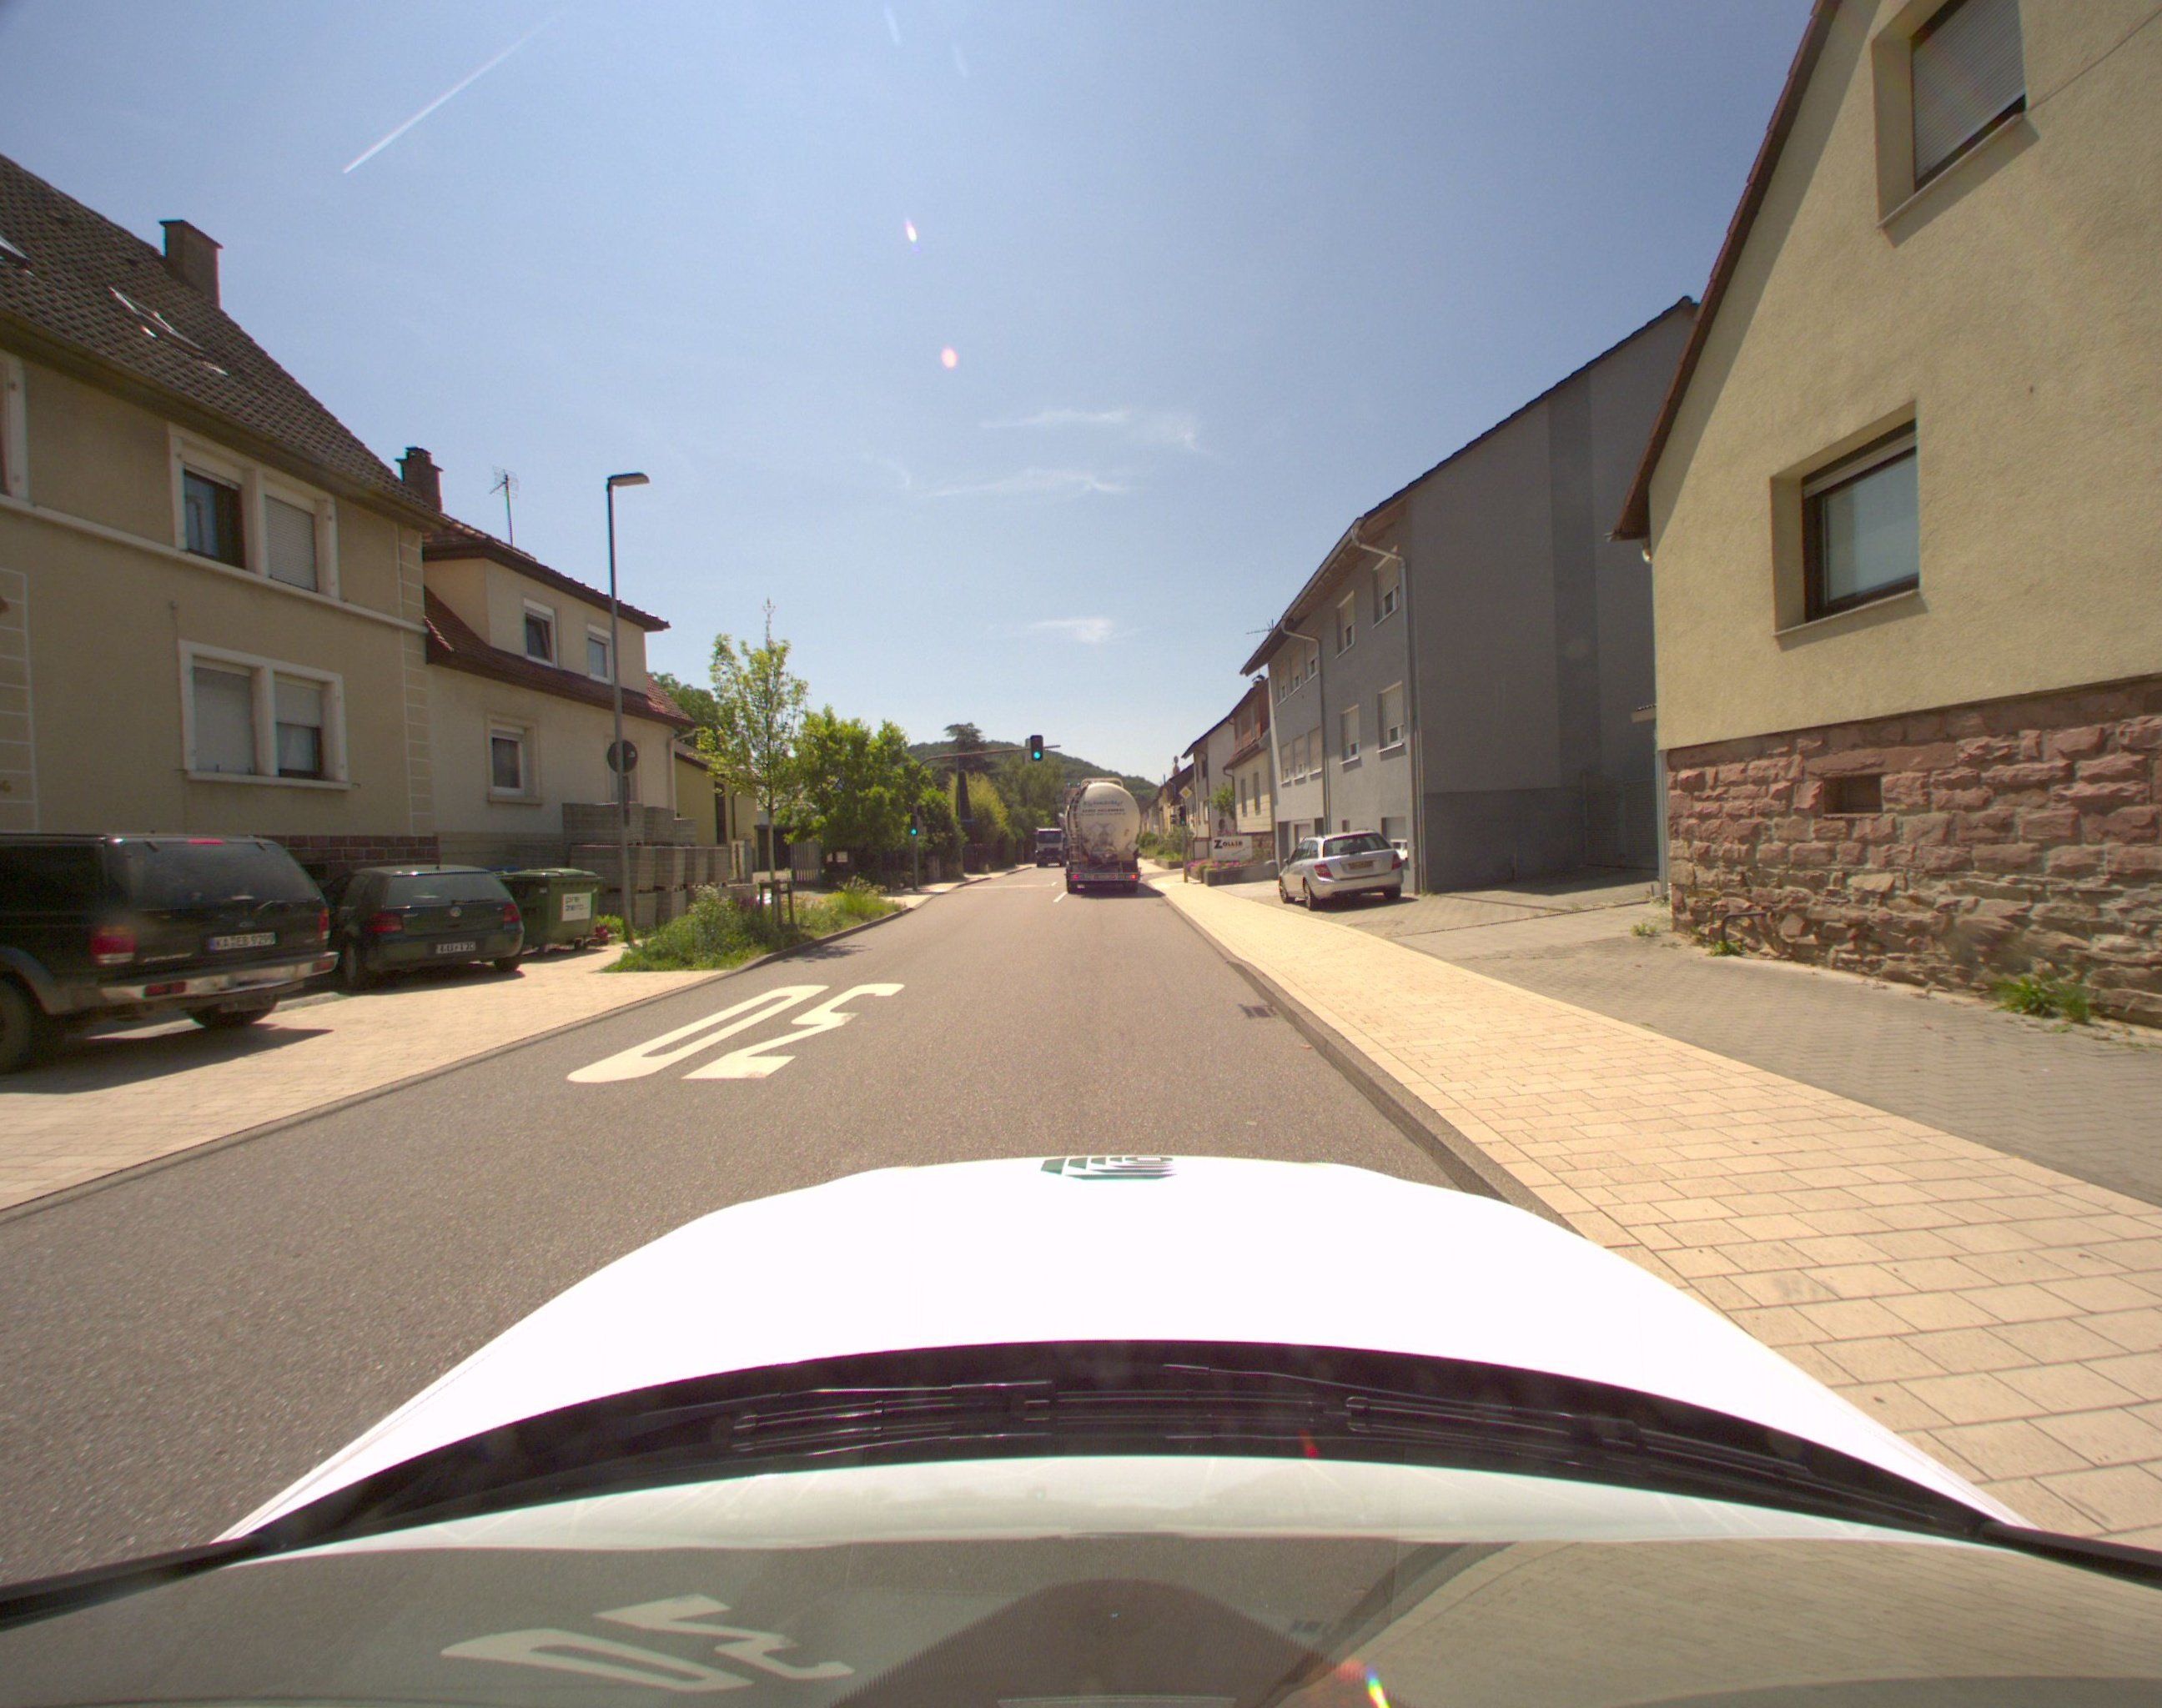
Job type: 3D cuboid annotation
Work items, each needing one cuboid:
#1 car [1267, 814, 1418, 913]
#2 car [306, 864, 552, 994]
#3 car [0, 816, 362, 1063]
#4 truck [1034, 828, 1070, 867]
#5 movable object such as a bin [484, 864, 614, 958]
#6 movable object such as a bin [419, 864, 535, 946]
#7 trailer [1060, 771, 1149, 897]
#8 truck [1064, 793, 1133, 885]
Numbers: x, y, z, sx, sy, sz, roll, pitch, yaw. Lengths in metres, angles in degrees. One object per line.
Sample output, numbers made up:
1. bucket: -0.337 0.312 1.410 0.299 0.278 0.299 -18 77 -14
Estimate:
1. car: 5.228 0.159 16.957 1.783 1.541 4.524 -8 0 4
2. car: -8.848 0.902 10.989 3.505 1.439 1.710 -2 0 36
3. car: -9.062 0.659 6.816 4.379 1.750 1.878 -1 0 1
4. truck: -2.562 -0.564 74.850 2.718 3.371 8.639 -1 0 2
5. movable object such as a bin: -8.304 0.856 12.800 0.984 1.319 1.406 -1 2 6
6. movable object such as a bin: -10.144 0.839 13.729 1.233 1.268 0.889 -1 2 -1
7. trailer: 0.787 -0.662 31.319 2.787 4.001 10.323 -1 0 0
8. truck: 0.714 -0.654 38.072 2.802 3.937 6.093 -1 0 -3
